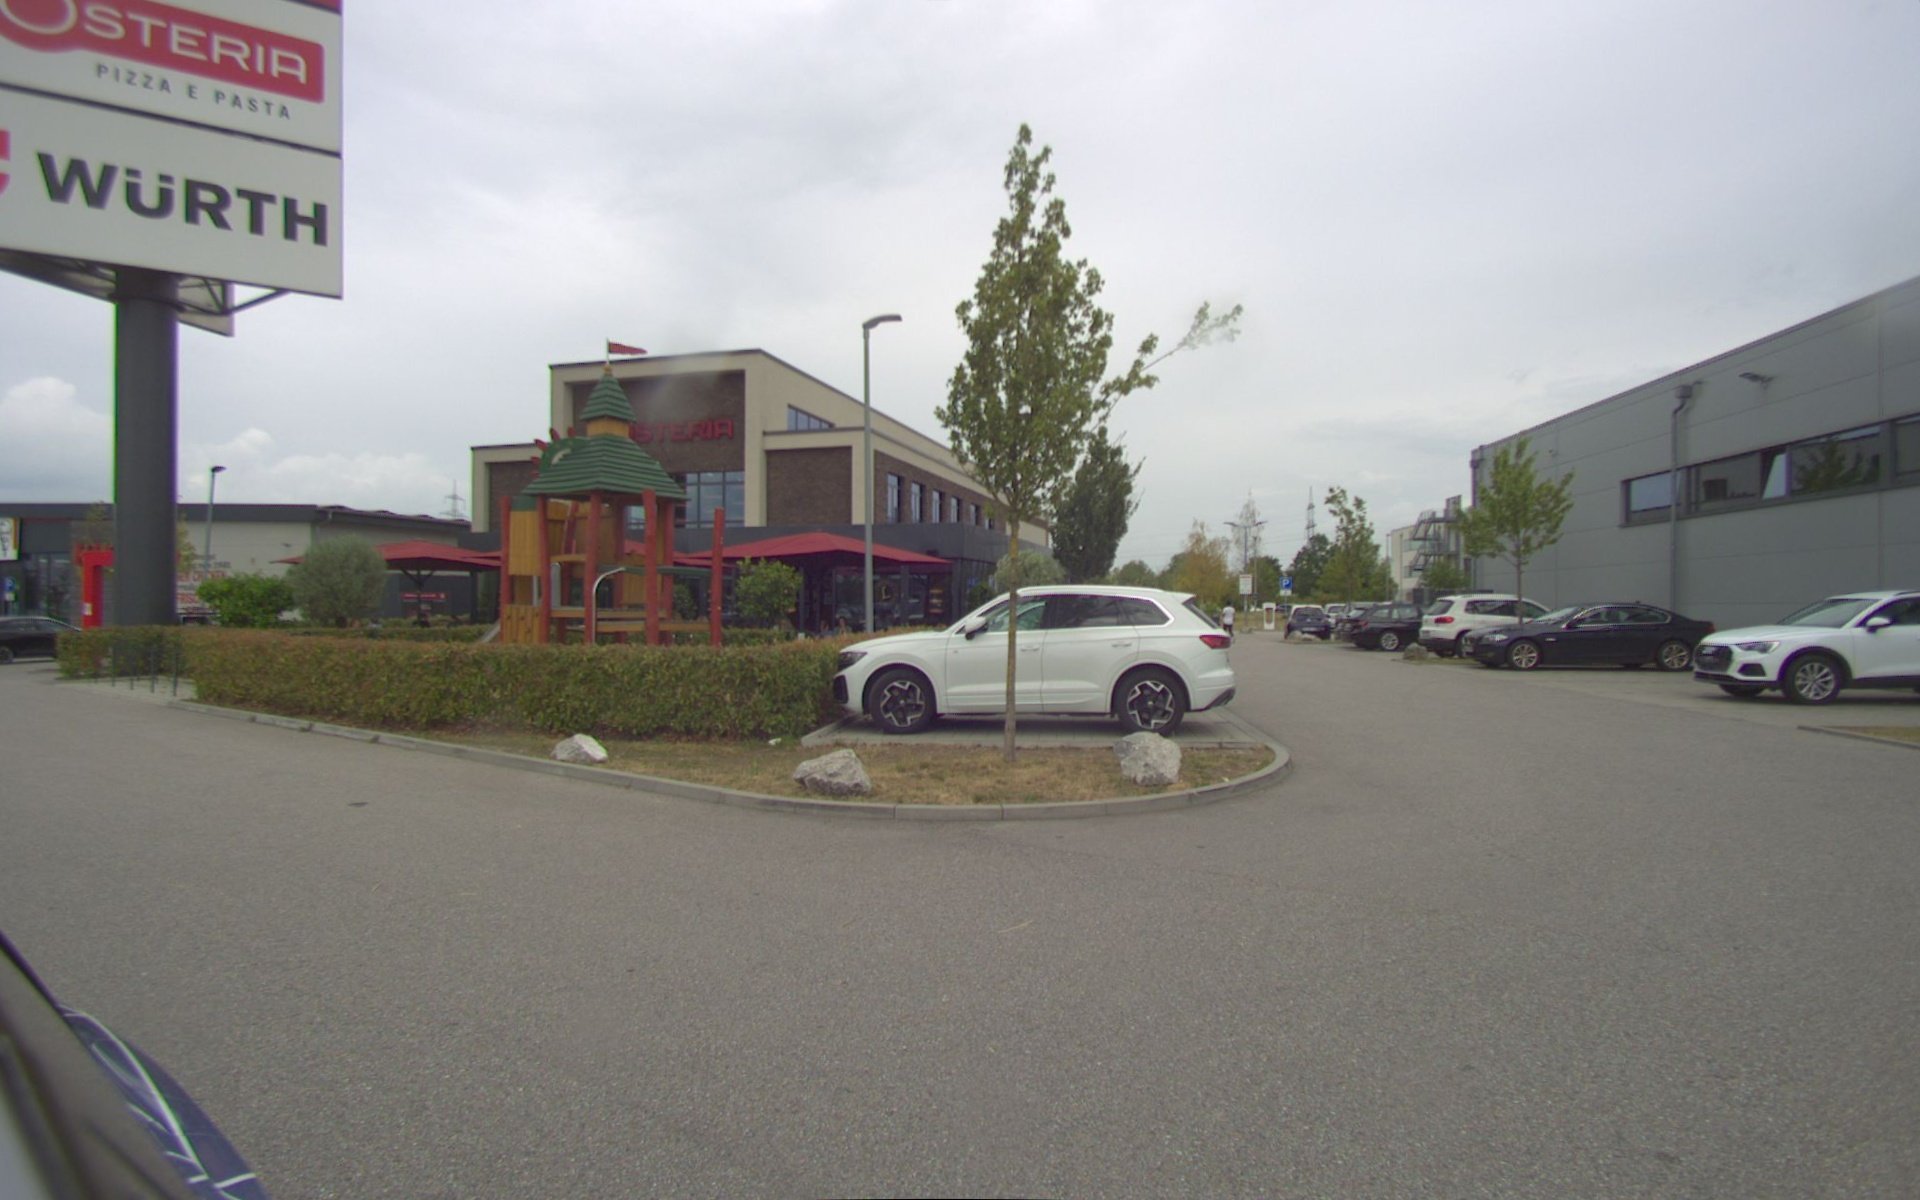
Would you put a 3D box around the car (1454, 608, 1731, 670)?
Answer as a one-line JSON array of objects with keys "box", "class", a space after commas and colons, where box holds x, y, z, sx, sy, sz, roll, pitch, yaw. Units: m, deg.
[{"box": [13.468, 0.828, 21.832, 4.690, 1.271, 1.753, -1, -1, 10], "class": "car"}]

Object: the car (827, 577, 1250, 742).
[{"box": [0.923, 0.671, 12.120, 4.689, 1.762, 1.753, -1, -1, 10], "class": "car"}]

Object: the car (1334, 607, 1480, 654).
[{"box": [13.718, 0.929, 31.209, 3.660, 1.354, 1.775, -1, 0, 1], "class": "car"}]

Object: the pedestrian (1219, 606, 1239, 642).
[{"box": [10.462, 0.924, 39.393, 0.690, 1.387, 0.704, -1, -1, 12], "class": "pedestrian"}]

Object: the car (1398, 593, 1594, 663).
[{"box": [13.792, 0.706, 26.248, 3.948, 1.719, 1.998, -1, 0, 4], "class": "car"}]

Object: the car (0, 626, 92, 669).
[{"box": [-31.412, 1.565, 33.806, 1.488, 1.305, 3.420, -1, 0, 20], "class": "car"}]

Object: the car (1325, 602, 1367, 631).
[{"box": [20.060, 0.840, 52.681, 1.797, 1.453, 3.976, -1, -1, 18], "class": "car"}]

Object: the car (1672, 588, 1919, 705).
[{"box": [13.017, 0.627, 14.368, 4.364, 1.567, 1.753, -1, -1, 10], "class": "car"}]

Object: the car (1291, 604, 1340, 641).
[{"box": [14.462, 0.910, 41.325, 1.797, 1.453, 3.976, -1, -1, 18], "class": "car"}]
